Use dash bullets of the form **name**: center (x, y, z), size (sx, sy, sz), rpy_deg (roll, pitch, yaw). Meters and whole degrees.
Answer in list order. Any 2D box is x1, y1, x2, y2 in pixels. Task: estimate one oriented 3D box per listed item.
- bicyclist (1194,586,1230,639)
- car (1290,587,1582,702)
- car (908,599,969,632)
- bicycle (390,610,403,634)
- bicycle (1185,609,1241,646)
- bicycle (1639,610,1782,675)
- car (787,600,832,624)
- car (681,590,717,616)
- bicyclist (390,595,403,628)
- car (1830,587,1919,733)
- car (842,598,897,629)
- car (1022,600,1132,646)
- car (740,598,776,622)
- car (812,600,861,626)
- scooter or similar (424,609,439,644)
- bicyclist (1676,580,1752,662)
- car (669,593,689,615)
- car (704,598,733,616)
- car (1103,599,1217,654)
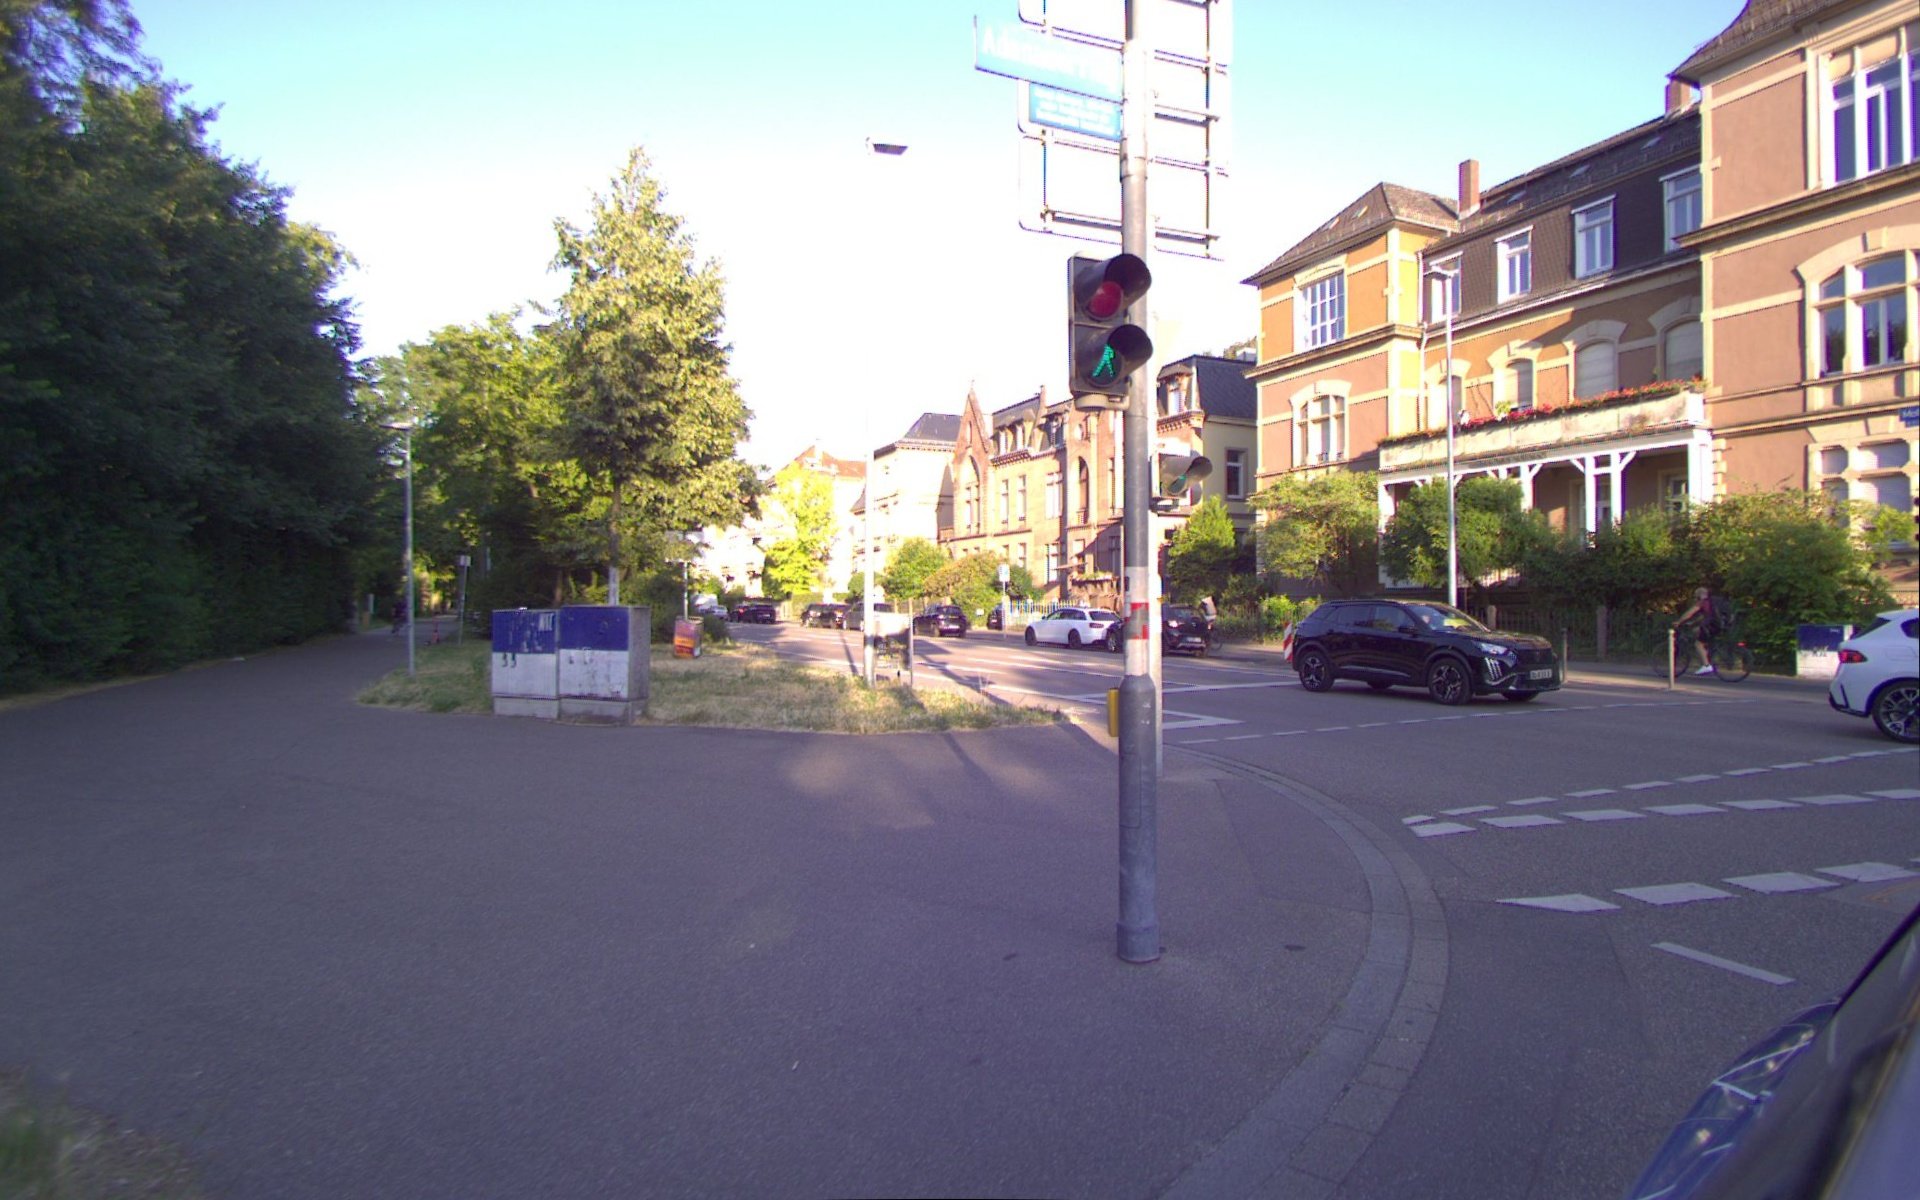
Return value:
- **bicyclist**: center (8.059, 0.381, 32.427), size (0.639, 1.653, 0.916), rpy_deg (-2, 0, -25)
- **car**: center (7.264, 0.608, 15.892), size (1.649, 1.555, 4.006), rpy_deg (0, 0, -26)
- **car**: center (-1.055, 0.702, 46.839), size (1.599, 1.464, 3.572), rpy_deg (1, -1, -23)
- **bicycle**: center (-24.793, 0.954, 44.549), size (0.492, 1.028, 1.529), rpy_deg (0, 0, -29)
- **bicycle**: center (8.080, 0.850, 32.396), size (0.647, 1.103, 1.906), rpy_deg (-2, 1, -24)
- **bicycle**: center (14.531, 0.789, 19.673), size (0.674, 1.137, 2.172), rpy_deg (-1, 0, -25)
- **car**: center (-9.556, 0.777, 64.044), size (1.681, 1.468, 3.728), rpy_deg (1, -1, -27)
- **car**: center (-25.511, 0.292, 98.847), size (2.186, 2.399, 5.888), rpy_deg (1, -1, -26)
- **bicyclist**: center (-24.768, 0.501, 44.495), size (0.486, 1.435, 0.569), rpy_deg (0, -1, -29)
- **car**: center (11.244, 0.604, 9.623), size (1.724, 1.484, 4.189), rpy_deg (0, 0, -33)
- **car**: center (-4.970, 0.735, 55.128), size (1.681, 1.609, 3.758), rpy_deg (1, -1, -27)
- **car**: center (4.011, 0.767, 35.403), size (1.576, 1.461, 4.438), rpy_deg (3, -1, -27)
- **car**: center (-15.391, 0.757, 77.037), size (1.843, 1.625, 3.730), rpy_deg (1, 2, -25)
- **car**: center (-7.310, 0.778, 59.760), size (1.681, 1.468, 3.728), rpy_deg (1, -1, -27)
- **scooter or similar**: center (-17.279, 0.858, 33.095), size (0.190, 1.100, 0.838), rpy_deg (-2, -1, -11)
- **bicyclist**: center (14.581, 0.395, 19.590), size (0.671, 1.531, 0.957), rpy_deg (-1, 0, -25)
- **car**: center (-30.607, 0.423, 110.247), size (1.539, 2.295, 3.806), rpy_deg (1, -1, -25)
- **car**: center (-22.219, 0.658, 93.046), size (1.682, 1.626, 3.858), rpy_deg (1, -1, -29)
- **car**: center (6.096, 0.786, 31.272), size (1.599, 1.554, 3.729), rpy_deg (3, -1, -23)
